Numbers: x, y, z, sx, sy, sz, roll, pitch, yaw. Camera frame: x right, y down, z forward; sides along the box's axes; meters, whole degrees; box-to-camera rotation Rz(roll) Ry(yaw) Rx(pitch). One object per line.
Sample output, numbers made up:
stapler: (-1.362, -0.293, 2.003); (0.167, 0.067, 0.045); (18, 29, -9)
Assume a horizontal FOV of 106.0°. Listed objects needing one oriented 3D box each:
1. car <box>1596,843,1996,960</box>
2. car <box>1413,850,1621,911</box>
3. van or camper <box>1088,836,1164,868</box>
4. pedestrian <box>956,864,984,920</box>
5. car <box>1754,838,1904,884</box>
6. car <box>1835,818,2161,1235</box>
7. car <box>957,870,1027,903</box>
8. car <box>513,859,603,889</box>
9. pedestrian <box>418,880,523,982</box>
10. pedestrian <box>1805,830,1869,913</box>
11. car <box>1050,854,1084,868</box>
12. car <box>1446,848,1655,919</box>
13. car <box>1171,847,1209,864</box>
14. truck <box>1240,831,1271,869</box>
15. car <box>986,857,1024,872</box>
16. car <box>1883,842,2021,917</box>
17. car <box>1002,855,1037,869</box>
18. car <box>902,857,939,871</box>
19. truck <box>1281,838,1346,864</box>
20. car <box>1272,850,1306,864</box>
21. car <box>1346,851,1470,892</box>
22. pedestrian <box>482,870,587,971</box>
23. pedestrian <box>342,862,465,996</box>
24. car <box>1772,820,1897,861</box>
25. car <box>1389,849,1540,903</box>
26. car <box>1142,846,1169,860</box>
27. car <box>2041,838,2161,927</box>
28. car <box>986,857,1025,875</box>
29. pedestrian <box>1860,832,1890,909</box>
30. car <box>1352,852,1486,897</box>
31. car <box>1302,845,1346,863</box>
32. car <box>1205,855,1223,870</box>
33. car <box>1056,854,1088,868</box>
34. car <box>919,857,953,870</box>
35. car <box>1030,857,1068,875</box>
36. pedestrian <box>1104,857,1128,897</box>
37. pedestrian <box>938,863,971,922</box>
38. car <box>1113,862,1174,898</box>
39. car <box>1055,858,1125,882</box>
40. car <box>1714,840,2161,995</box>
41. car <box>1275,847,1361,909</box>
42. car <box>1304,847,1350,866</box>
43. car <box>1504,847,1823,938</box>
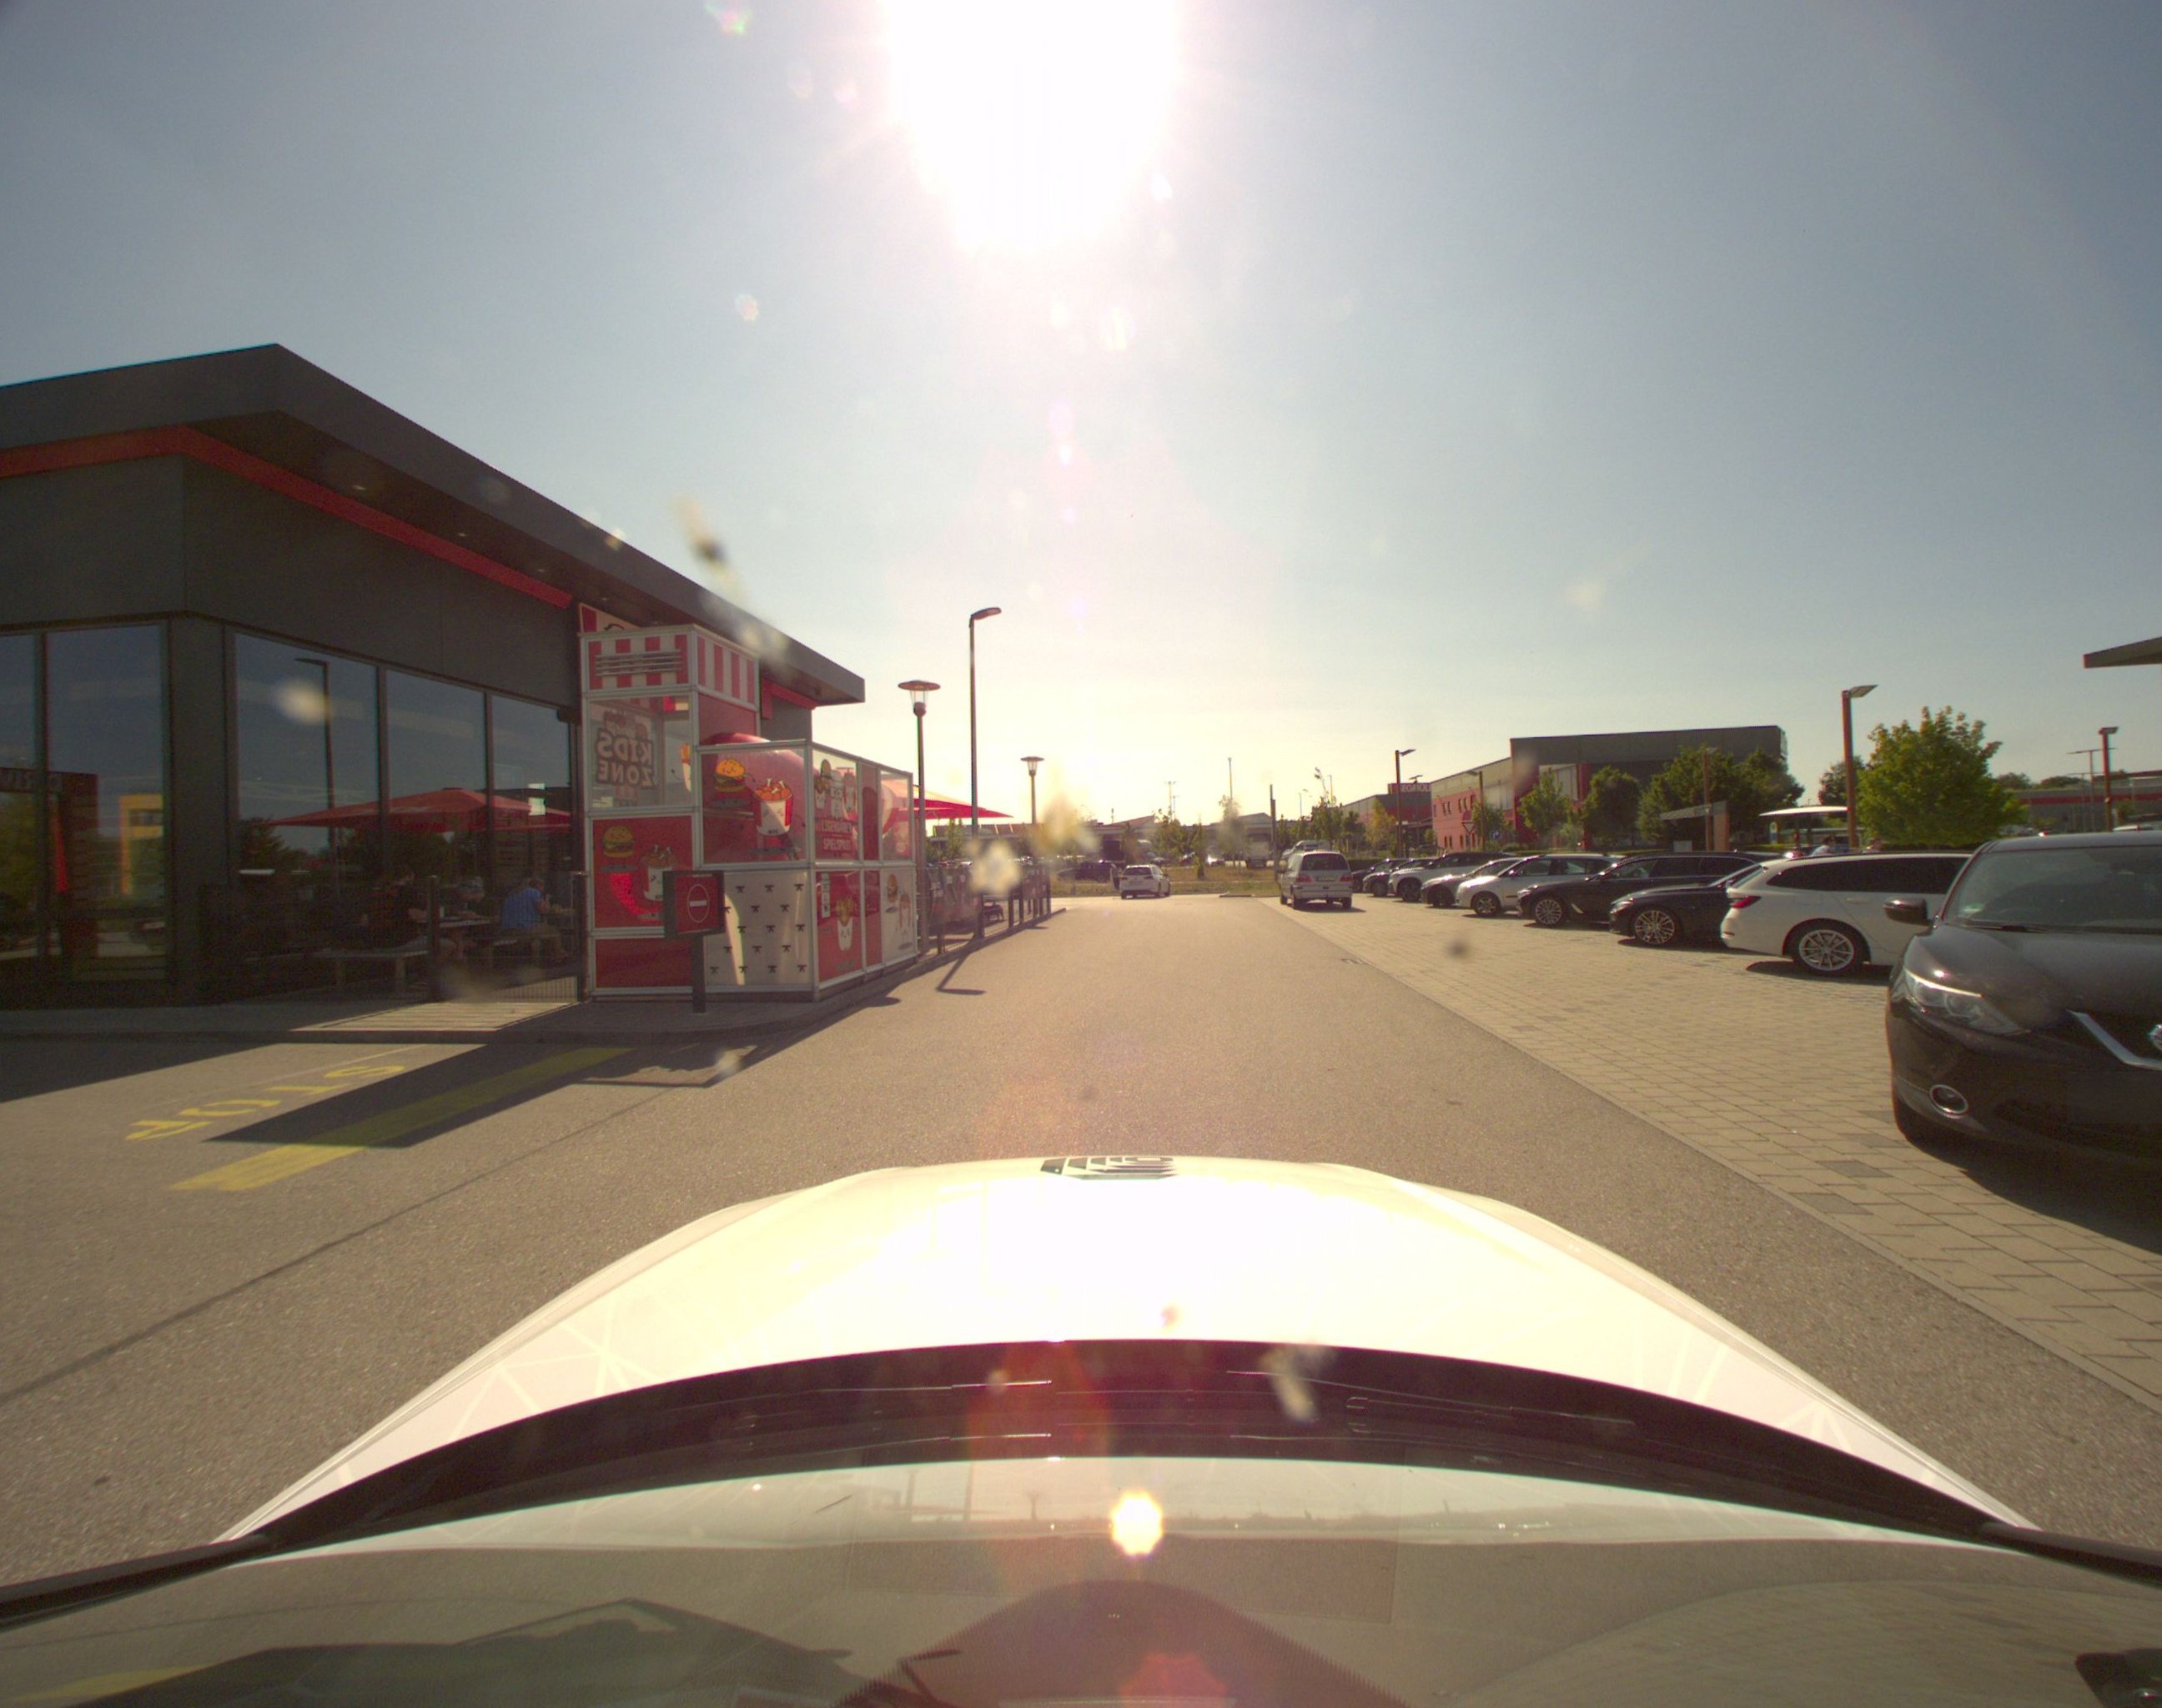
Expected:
car: (10.583, 0.626, 12.364); (1.847, 1.459, 4.317); (-1, -1, -43)
car: (12.176, 0.708, 22.980); (4.785, 1.526, 1.987); (-1, -1, 45)
van or camper: (4.537, -0.128, 83.844); (7.952, 3.101, 2.434); (-1, -1, 40)
pedestrian: (-2.582, 0.869, 18.912); (0.611, 1.273, 0.622); (-1, -1, -10)
car: (30.270, 0.288, 33.076); (4.206, 1.691, 1.998); (-2, 0, 2)
car: (5.845, 0.609, 4.398); (4.323, 1.591, 1.836); (-2, 0, -37)
car: (-4.184, 1.520, 38.877); (1.814, 1.469, 4.370); (-2, -2, 15)
car: (-31.432, 1.169, 49.083); (1.874, 1.703, 4.353); (-2, -1, 19)
pedestrian: (-7.515, 0.930, 10.053); (0.748, 1.200, 0.696); (-1, -1, 7)
pedestrian: (17.181, 0.393, 18.529); (0.761, 1.849, 0.838); (-1, -1, 20)
car: (-1.944, 0.965, 112.326); (4.367, 1.855, 1.959); (-1, -1, 6)
car: (11.247, 0.671, 19.602); (4.152, 1.526, 1.988); (-1, -1, 36)
car: (12.677, 0.197, 94.931); (4.231, 1.855, 1.873); (-1, -1, 6)
truck: (17.290, -0.365, 80.643); (2.741, 3.481, 6.855); (-1, 0, 12)
car: (-9.600, 1.324, 103.336); (4.367, 1.855, 1.959); (-1, -1, 6)
car: (19.525, 0.516, 18.208); (4.134, 1.493, 1.692); (-1, -1, -38)
car: (-8.379, 1.082, 111.487); (4.367, 1.855, 1.959); (-1, -1, 6)
car: (-22.181, 1.353, 112.545); (4.535, 1.855, 1.959); (-1, -1, 6)
truck: (26.818, -0.328, 94.131); (6.999, 2.814, 1.959); (-1, -1, 6)
car: (28.960, 0.382, 113.565); (4.367, 1.855, 1.959); (-1, -1, 6)
car: (13.346, 0.708, 33.414); (1.985, 1.526, 4.282); (-2, 0, -39)
pedestrian: (-7.543, 0.893, 11.278); (0.748, 1.312, 0.947); (-1, -1, 8)
pedestrian: (-7.609, 0.815, 9.176); (0.792, 1.443, 0.694); (-1, -1, 5)
car: (43.191, -0.724, 46.790); (5.061, 2.197, 2.004); (-1, -1, 7)
car: (12.527, 0.705, 26.690); (4.152, 1.654, 1.988); (-1, -1, 36)
car: (11.461, -0.120, 125.054); (3.963, 2.014, 2.005); (-1, -1, 9)
car: (19.889, 0.477, 15.550); (4.134, 1.515, 1.793); (-1, -1, -38)
car: (-8.226, 1.343, 89.161); (1.930, 1.855, 4.432); (-1, -1, 30)
pedestrian: (18.611, 0.378, 19.086); (0.461, 1.768, 0.556); (-2, -1, 44)
car: (12.524, 0.738, 30.314); (4.154, 1.526, 1.987); (-1, -1, 44)
car: (27.234, -0.018, 91.346); (4.367, 1.855, 1.959); (-1, -1, 6)
car: (13.390, 0.822, 81.770); (1.639, 1.459, 3.979); (-1, 0, 12)
car: (-1.344, 0.992, 118.273); (4.367, 1.855, 1.959); (-1, -1, 6)
car: (-21.399, 1.391, 120.628); (4.535, 1.855, 1.959); (-1, -1, 6)
car: (-3.409, 1.288, 86.842); (1.930, 1.855, 4.432); (-1, -1, 30)
pedestrian: (1.633, 1.076, 37.677); (0.986, 1.809, 0.727); (-2, -2, 7)
pedestrian: (-2.796, 0.833, 18.046); (0.683, 1.273, 0.839); (-1, -1, -10)
car: (2.914, 1.164, 36.908); (1.813, 1.469, 4.500); (-2, -2, 16)
car: (0.734, 1.248, 64.447); (5.174, 1.731, 1.995); (-1, -1, 10)
car: (10.157, 0.613, 9.146); (1.846, 1.459, 4.530); (-1, -1, -41)
car: (7.441, 0.713, 26.057); (1.818, 1.748, 4.691); (-2, -1, 6)
car: (26.061, 0.258, 86.253); (4.367, 1.855, 1.959); (-1, -1, 6)
car: (11.184, 0.674, 15.940); (1.986, 1.486, 4.726); (-1, -1, -41)
